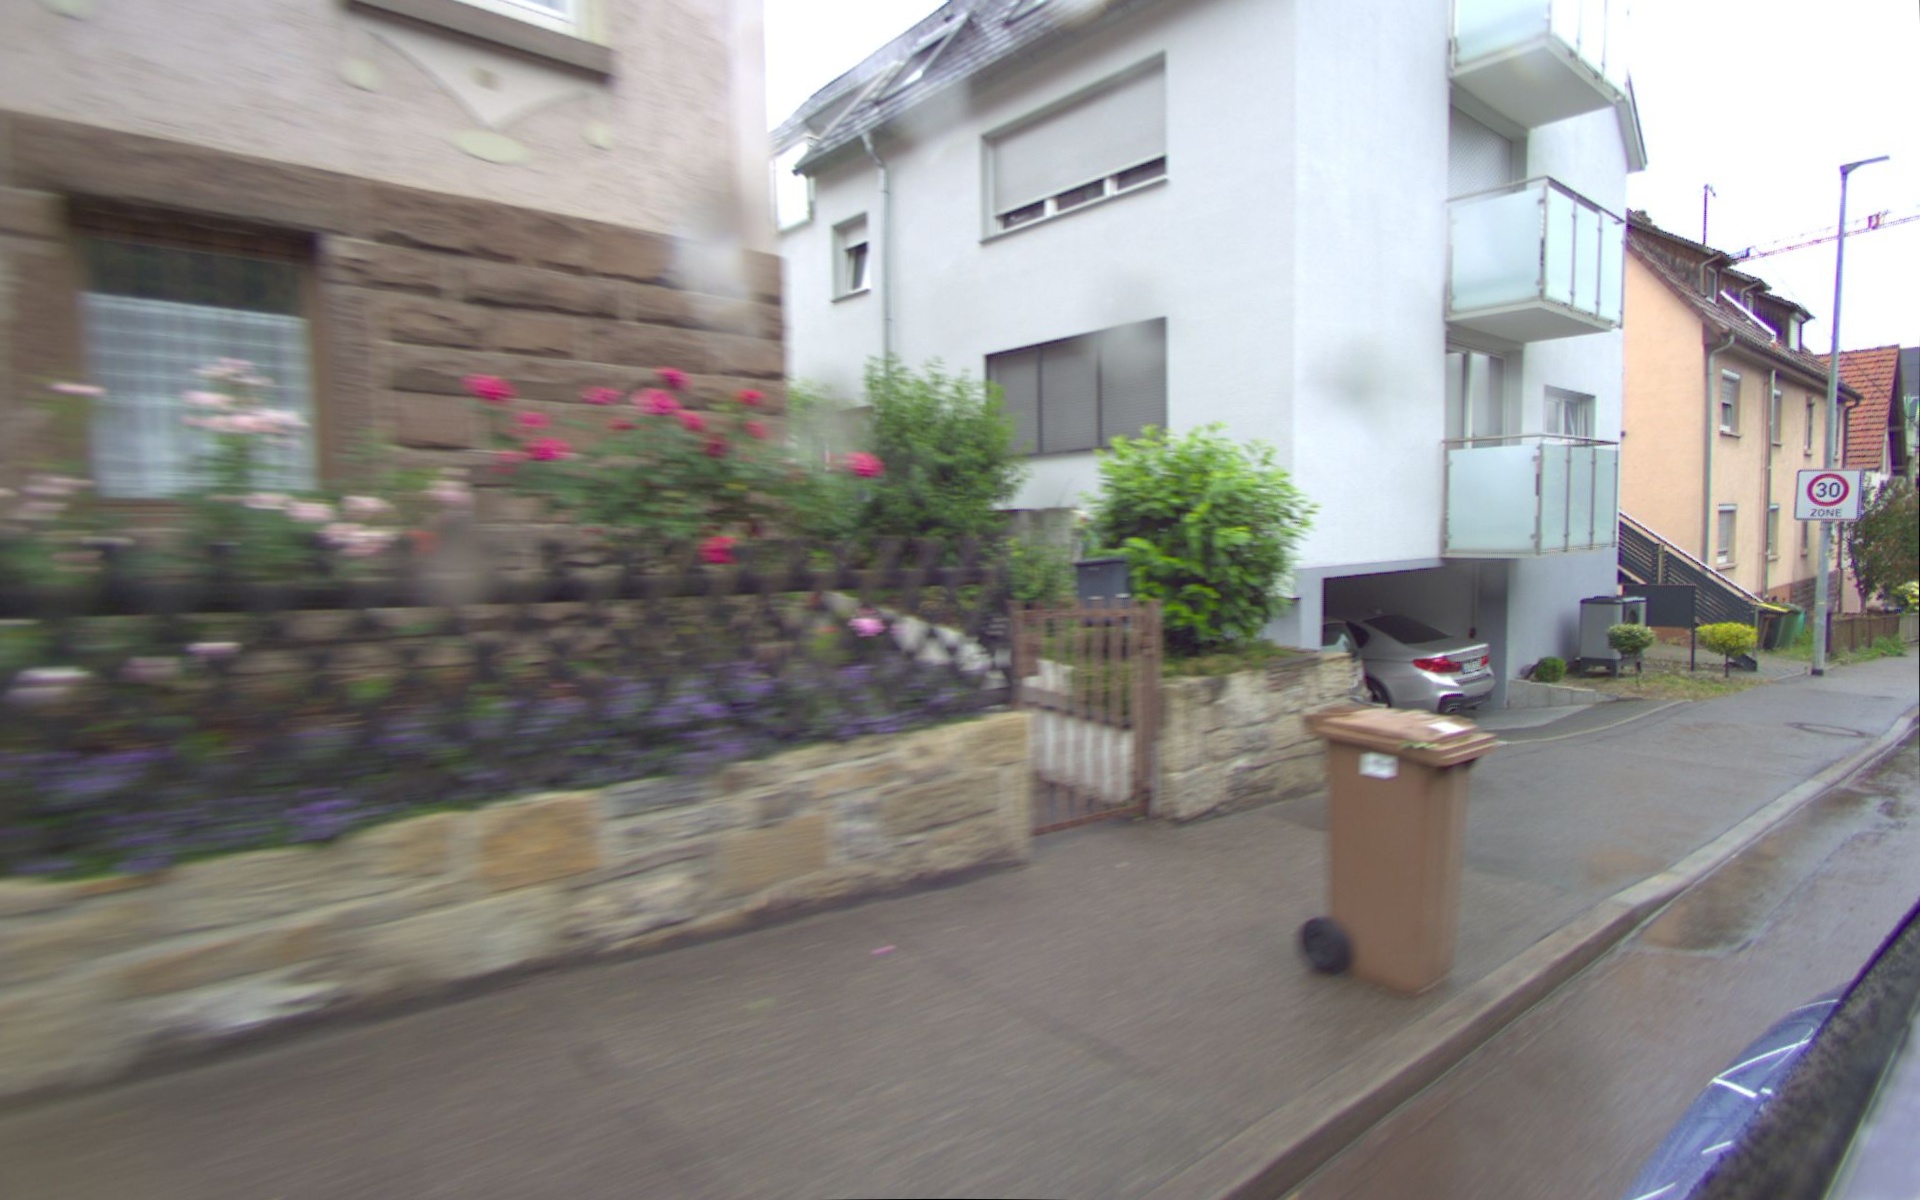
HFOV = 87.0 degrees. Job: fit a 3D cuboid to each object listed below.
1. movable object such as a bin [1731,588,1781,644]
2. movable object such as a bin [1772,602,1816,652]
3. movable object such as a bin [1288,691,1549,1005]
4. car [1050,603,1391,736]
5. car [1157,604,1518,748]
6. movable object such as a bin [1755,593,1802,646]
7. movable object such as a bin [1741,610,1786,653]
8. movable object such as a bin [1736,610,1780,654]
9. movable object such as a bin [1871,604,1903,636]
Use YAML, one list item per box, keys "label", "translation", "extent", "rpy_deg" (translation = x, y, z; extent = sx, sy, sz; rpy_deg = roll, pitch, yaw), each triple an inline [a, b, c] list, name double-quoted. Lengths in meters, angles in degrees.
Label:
- label: "movable object such as a bin"
  translation: [16.675, 0.329, 21.205]
  extent: [0.536, 1.106, 0.662]
  rpy_deg: [0, 5, -43]
- label: "movable object such as a bin"
  translation: [20.070, 0.640, 24.352]
  extent: [0.645, 1.106, 0.661]
  rpy_deg: [0, 4, -43]
- label: "movable object such as a bin"
  translation: [1.682, 0.839, 3.717]
  extent: [0.699, 0.908, 0.631]
  rpy_deg: [0, 1, -41]
- label: "car"
  translation: [3.176, 0.756, 12.947]
  extent: [1.653, 1.321, 3.979]
  rpy_deg: [0, 1, -42]
- label: "car"
  translation: [5.096, 0.906, 14.173]
  extent: [1.725, 1.461, 4.478]
  rpy_deg: [-4, 4, -40]
- label: "movable object such as a bin"
  translation: [18.238, 0.432, 22.551]
  extent: [0.536, 1.106, 0.662]
  rpy_deg: [0, 5, -43]
- label: "movable object such as a bin"
  translation: [17.577, 0.678, 22.141]
  extent: [0.527, 0.906, 0.670]
  rpy_deg: [1, 1, -41]
- label: "movable object such as a bin"
  translation: [17.134, 0.679, 21.725]
  extent: [0.527, 0.906, 0.638]
  rpy_deg: [1, 1, -41]
- label: "movable object such as a bin"
  translation: [30.712, 0.651, 33.523]
  extent: [0.779, 0.978, 0.611]
  rpy_deg: [0, 7, -43]
